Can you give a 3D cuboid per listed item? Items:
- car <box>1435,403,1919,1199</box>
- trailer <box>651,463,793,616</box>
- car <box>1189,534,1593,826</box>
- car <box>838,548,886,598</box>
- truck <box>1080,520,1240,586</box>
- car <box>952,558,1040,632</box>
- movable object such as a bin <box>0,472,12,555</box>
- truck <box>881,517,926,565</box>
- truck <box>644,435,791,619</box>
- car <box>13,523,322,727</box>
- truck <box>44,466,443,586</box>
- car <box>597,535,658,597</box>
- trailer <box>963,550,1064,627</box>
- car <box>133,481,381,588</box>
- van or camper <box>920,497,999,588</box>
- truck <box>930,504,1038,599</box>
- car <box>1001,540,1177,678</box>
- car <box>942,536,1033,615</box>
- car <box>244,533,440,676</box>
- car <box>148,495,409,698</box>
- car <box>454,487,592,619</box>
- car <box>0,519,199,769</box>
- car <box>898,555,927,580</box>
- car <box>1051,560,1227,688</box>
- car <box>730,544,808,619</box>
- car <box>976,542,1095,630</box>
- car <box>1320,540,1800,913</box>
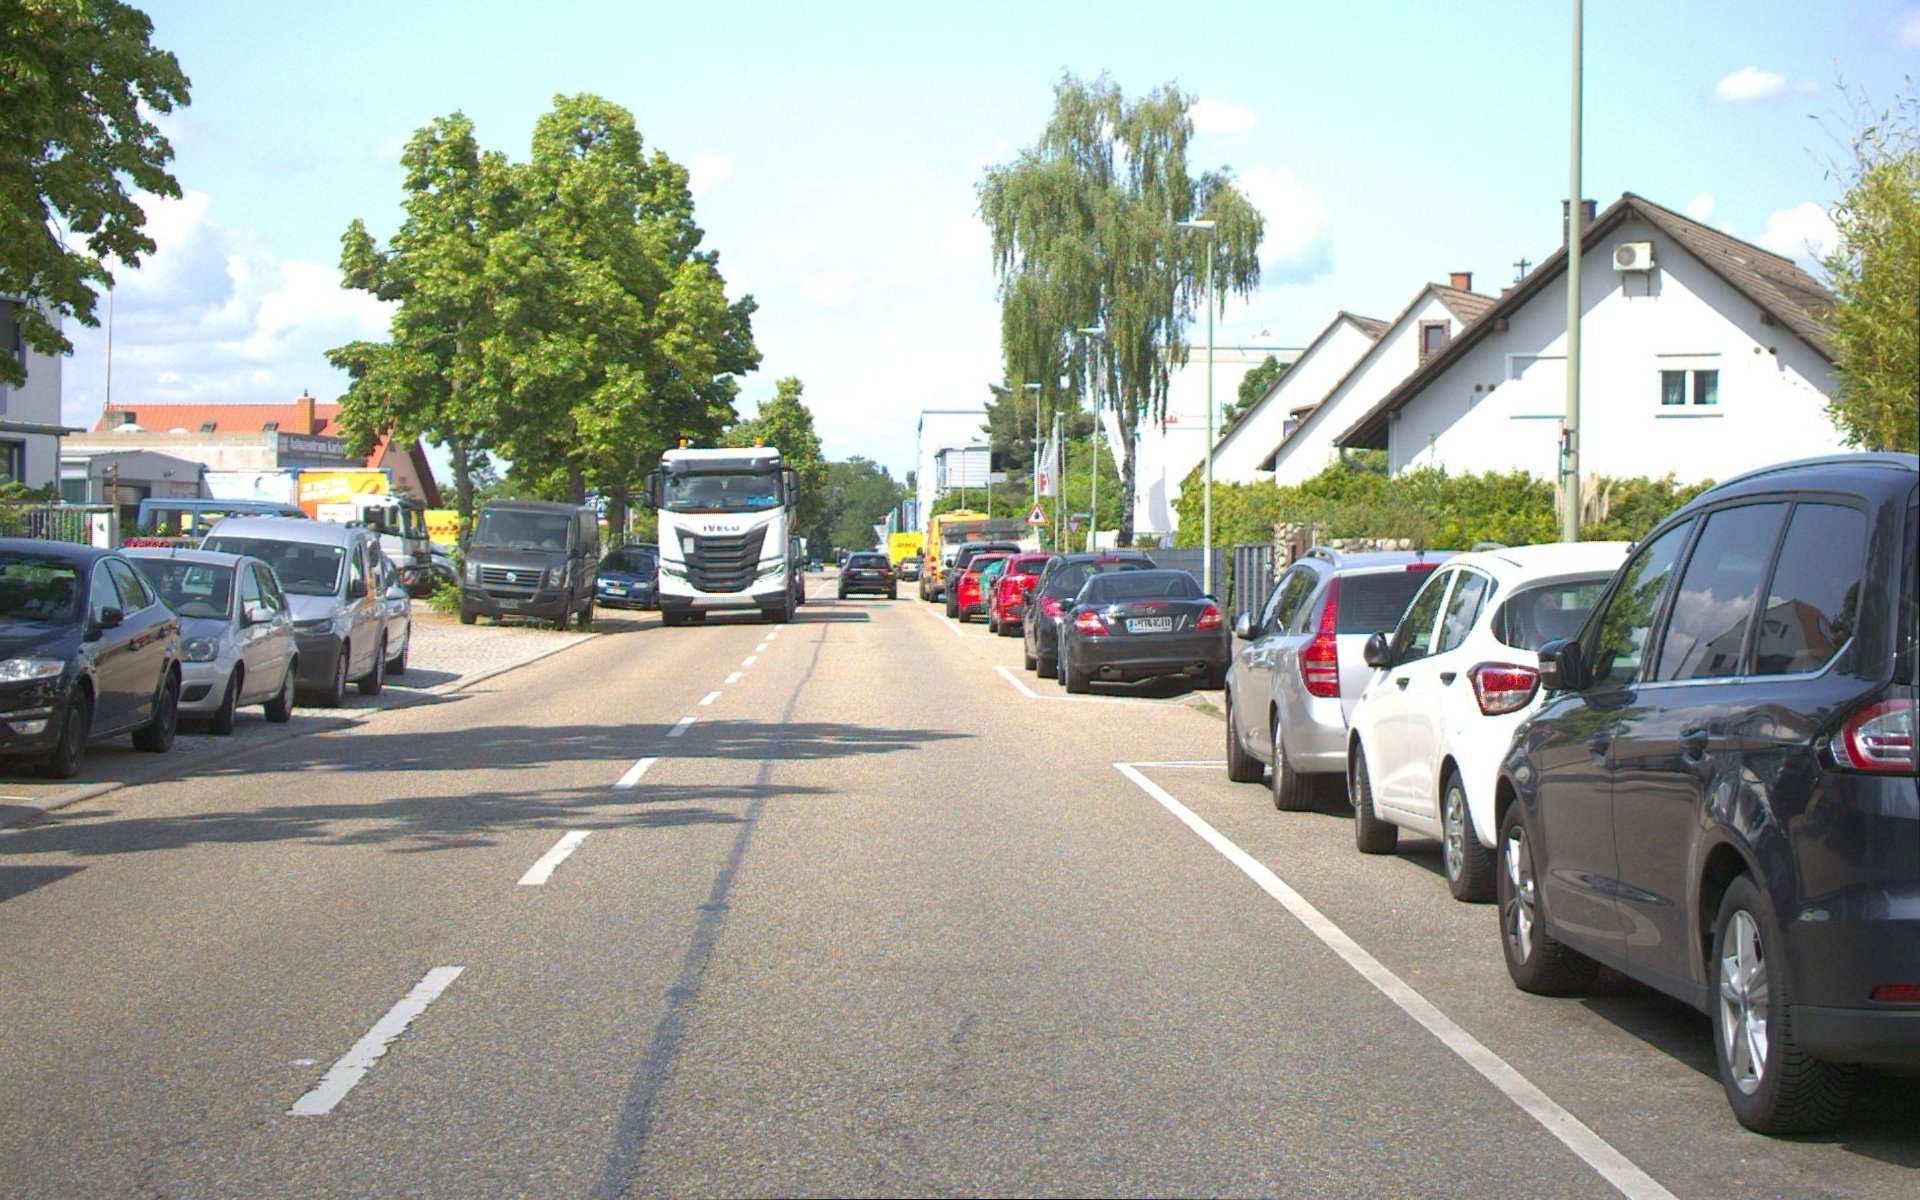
[{"bbox_3d":[2.766,0.413,10.022,1.891,1.767,4.709,-1,0,-3],"label":"car"},{"bbox_3d":[-5.132,-1.263,74.033,2.834,3.058,8.891,1,1,-4],"label":"trailer"},{"bbox_3d":[2.497,0.407,20.918,1.745,1.547,4.292,2,1,-2],"label":"car"},{"bbox_3d":[-3.034,-0.844,106.953,1.427,1.514,3.017,1,1,-1],"label":"car"},{"bbox_3d":[8.153,-1.915,140.069,6.039,2.568,2.567,0,1,-27],"label":"truck"},{"bbox_3d":[0.717,-0.122,71.086,1.684,1.430,4.146,2,0,-1],"label":"car"},{"bbox_3d":[-17.512,-1.457,59.753,1.310,1.426,1.602,2,7,15],"label":"movable object such as a bin"},{"bbox_3d":[-3.642,-3.762,219.743,2.474,2.930,7.189,2,0,-3],"label":"truck"},{"bbox_3d":[-4.788,-1.430,68.760,2.772,3.487,5.882,1,1,-3],"label":"truck"},{"bbox_3d":[-6.585,0.191,28.943,1.622,1.464,3.926,5,0,-1],"label":"car"},{"bbox_3d":[-17.651,-1.821,85.017,9.259,2.846,2.720,1,1,3],"label":"truck"},{"bbox_3d":[-8.334,-0.845,86.335,1.247,1.514,3.366,1,1,-1],"label":"car"},{"bbox_3d":[0.997,-0.233,65.716,1.608,1.373,4.433,2,0,-3],"label":"trailer"},{"bbox_3d":[-15.725,-1.460,76.975,5.003,2.224,1.999,1,-1,11],"label":"car"},{"bbox_3d":[-0.054,-1.716,103.912,1.993,2.655,5.770,1,1,-4],"label":"van or camper"},{"bbox_3d":[0.549,-1.216,86.737,2.522,2.291,5.895,1,1,-1],"label":"truck"},{"bbox_3d":[1.553,0.078,42.771,1.743,1.545,4.122,3,1,-3],"label":"car"},{"bbox_3d":[0.578,-0.548,76.013,1.829,1.656,4.554,1,0,-1],"label":"car"},{"bbox_3d":[-7.422,0.009,41.673,1.748,1.456,4.710,4,1,-4],"label":"car"},{"bbox_3d":[-6.835,-0.063,34.915,1.809,1.800,4.491,4,0,-2],"label":"car"},{"bbox_3d":[-7.981,-0.898,63.129,2.168,2.252,4.001,3,2,-4],"label":"car"},{"bbox_3d":[-6.518,0.203,23.070,1.809,1.488,4.597,4,0,-1],"label":"car"},{"bbox_3d":[-2.903,-1.980,208.157,1.651,1.382,4.423,2,1,-2],"label":"car"},{"bbox_3d":[1.933,0.232,38.159,1.710,1.313,3.963,1,1,0],"label":"car"},{"bbox_3d":[-5.333,-0.528,96.585,2.051,2.027,5.142,-1,1,-2],"label":"car"},{"bbox_3d":[1.301,-0.268,61.015,1.691,1.458,4.756,2,0,-3],"label":"car"},{"bbox_3d":[2.642,0.486,15.864,1.442,1.500,3.671,1,1,-2],"label":"car"}]
